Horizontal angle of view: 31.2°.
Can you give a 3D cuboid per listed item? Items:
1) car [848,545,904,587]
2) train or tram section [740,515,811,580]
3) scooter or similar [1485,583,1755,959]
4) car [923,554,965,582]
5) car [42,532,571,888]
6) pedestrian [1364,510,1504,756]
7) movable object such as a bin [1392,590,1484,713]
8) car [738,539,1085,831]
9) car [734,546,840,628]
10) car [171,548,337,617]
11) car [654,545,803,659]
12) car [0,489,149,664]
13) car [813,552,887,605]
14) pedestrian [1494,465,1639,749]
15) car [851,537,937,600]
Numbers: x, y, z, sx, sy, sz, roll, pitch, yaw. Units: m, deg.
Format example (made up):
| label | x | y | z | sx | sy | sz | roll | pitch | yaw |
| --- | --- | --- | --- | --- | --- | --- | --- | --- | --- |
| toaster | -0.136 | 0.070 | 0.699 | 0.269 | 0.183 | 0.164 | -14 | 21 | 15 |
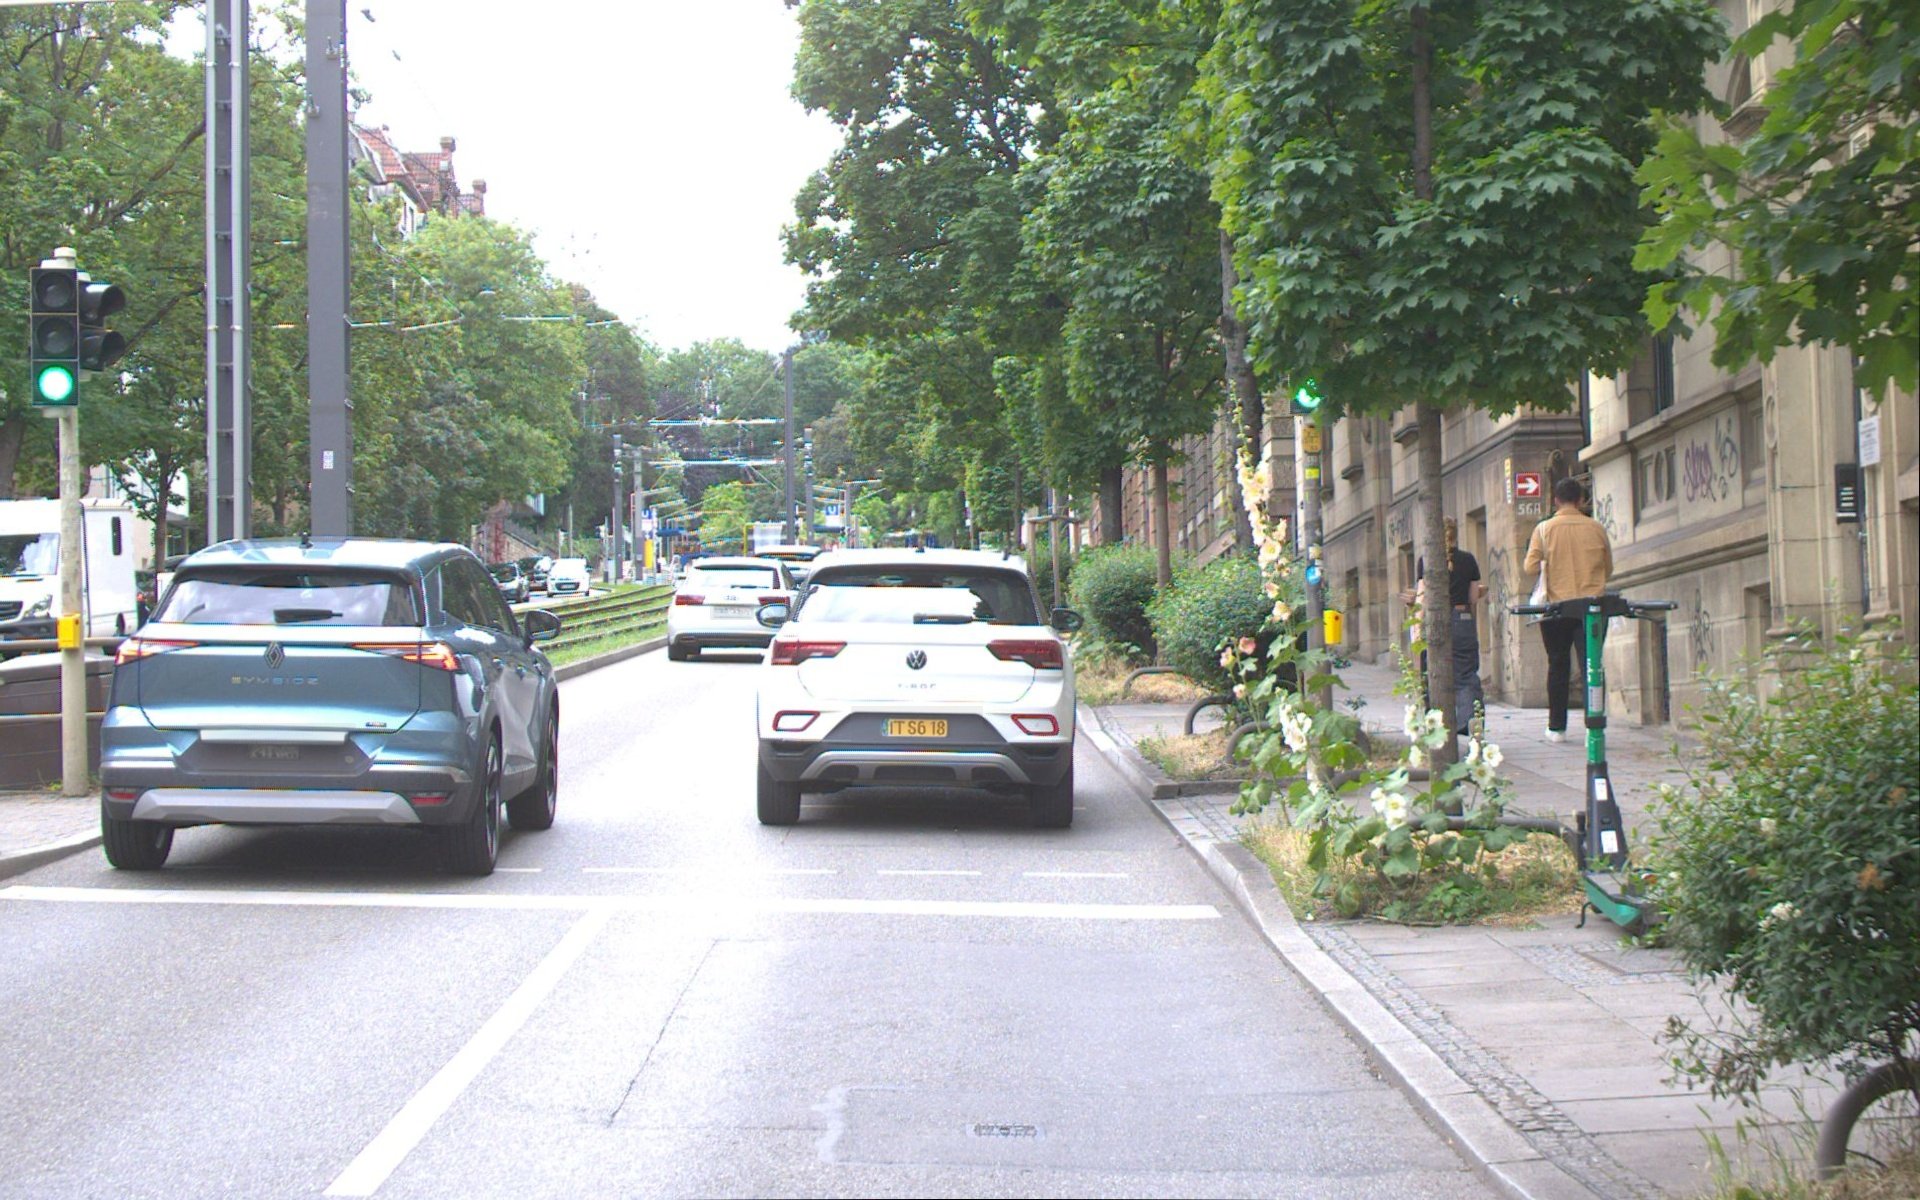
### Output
| label | x | y | z | sx | sy | sz | roll | pitch | yaw |
| --- | --- | --- | --- | --- | --- | --- | --- | --- | --- |
| car | -3.179 | -1.269 | 130.392 | 2.068 | 1.541 | 4.194 | 1 | 0 | -2 |
| train or tram section | -10.049 | -2.803 | 188.146 | 2.996 | 3.337 | 13.438 | -1 | 0 | 1 |
| scooter or similar | 2.439 | 0.602 | 12.841 | 0.662 | 1.299 | 1.384 | -3 | 0 | -1 |
| car | -0.915 | -1.799 | 195.626 | 2.068 | 1.541 | 4.194 | 1 | 0 | -4 |
| car | -3.102 | 0.472 | 17.164 | 1.835 | 1.541 | 4.193 | 1 | 0 | 0 |
| pedestrian | 3.143 | 0.207 | 22.872 | 0.685 | 1.569 | 1.216 | -2 | 1 | 0 |
| movable object such as a bin | 4.198 | 0.446 | 30.218 | 0.671 | 1.012 | 0.582 | -3 | 2 | -2 |
| car | -0.307 | 0.446 | 20.441 | 1.835 | 1.541 | 4.194 | 1 | 0 | -1 |
| car | -3.336 | -0.253 | 66.901 | 1.835 | 1.541 | 4.193 | 1 | 0 | 0 |
| car | -19.744 | -0.486 | 96.117 | 4.177 | 1.830 | 1.872 | -1 | 0 | -27 |
| car | -3.255 | 0.023 | 49.040 | 1.835 | 1.541 | 4.193 | 1 | 0 | 0 |
| car | -15.438 | -0.355 | 56.905 | 2.392 | 2.690 | 6.518 | -3 | 0 | 0 |
| car | -3.317 | -0.650 | 103.047 | 2.068 | 1.541 | 4.194 | 1 | 0 | -3 |
| pedestrian | 4.050 | 0.046 | 23.031 | 0.685 | 1.823 | 1.121 | -2 | 0 | 0 |
| car | -1.715 | -0.797 | 88.132 | 2.068 | 1.541 | 4.194 | 1 | 0 | -3 |
